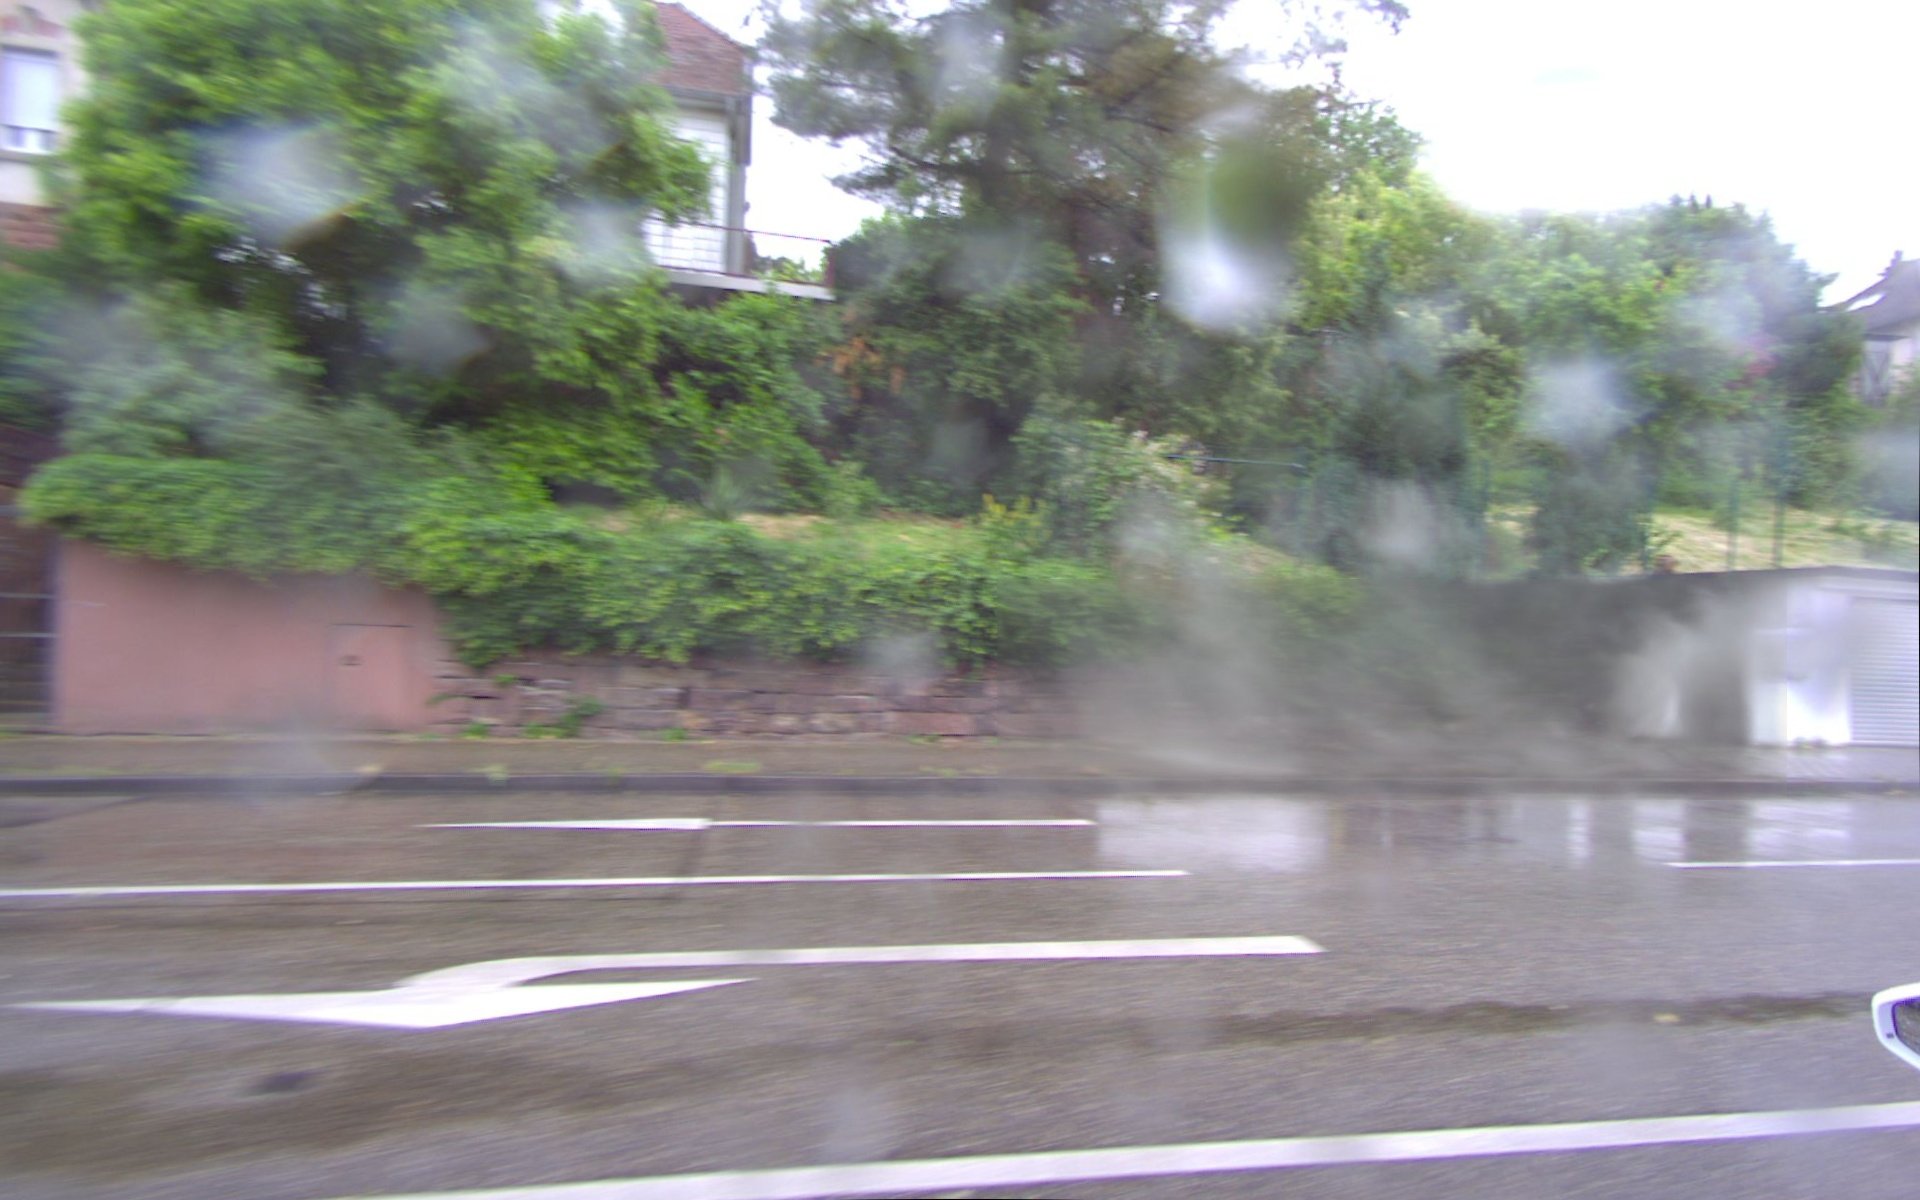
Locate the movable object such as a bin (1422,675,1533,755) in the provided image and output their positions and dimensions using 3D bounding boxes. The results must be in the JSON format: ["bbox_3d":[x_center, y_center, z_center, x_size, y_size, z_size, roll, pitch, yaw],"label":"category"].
[{"bbox_3d":[6.540,1.439,12.730,0.937,0.928,0.850,1,-1,-13],"label":"movable object such as a bin"}]

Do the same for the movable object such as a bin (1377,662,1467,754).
[{"bbox_3d":[5.673,1.320,12.364,0.780,1.074,0.635,1,-1,-12],"label":"movable object such as a bin"}]

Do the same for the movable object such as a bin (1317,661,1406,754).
[{"bbox_3d":[4.890,1.295,12.260,0.741,1.074,0.687,1,-1,-12],"label":"movable object such as a bin"}]
